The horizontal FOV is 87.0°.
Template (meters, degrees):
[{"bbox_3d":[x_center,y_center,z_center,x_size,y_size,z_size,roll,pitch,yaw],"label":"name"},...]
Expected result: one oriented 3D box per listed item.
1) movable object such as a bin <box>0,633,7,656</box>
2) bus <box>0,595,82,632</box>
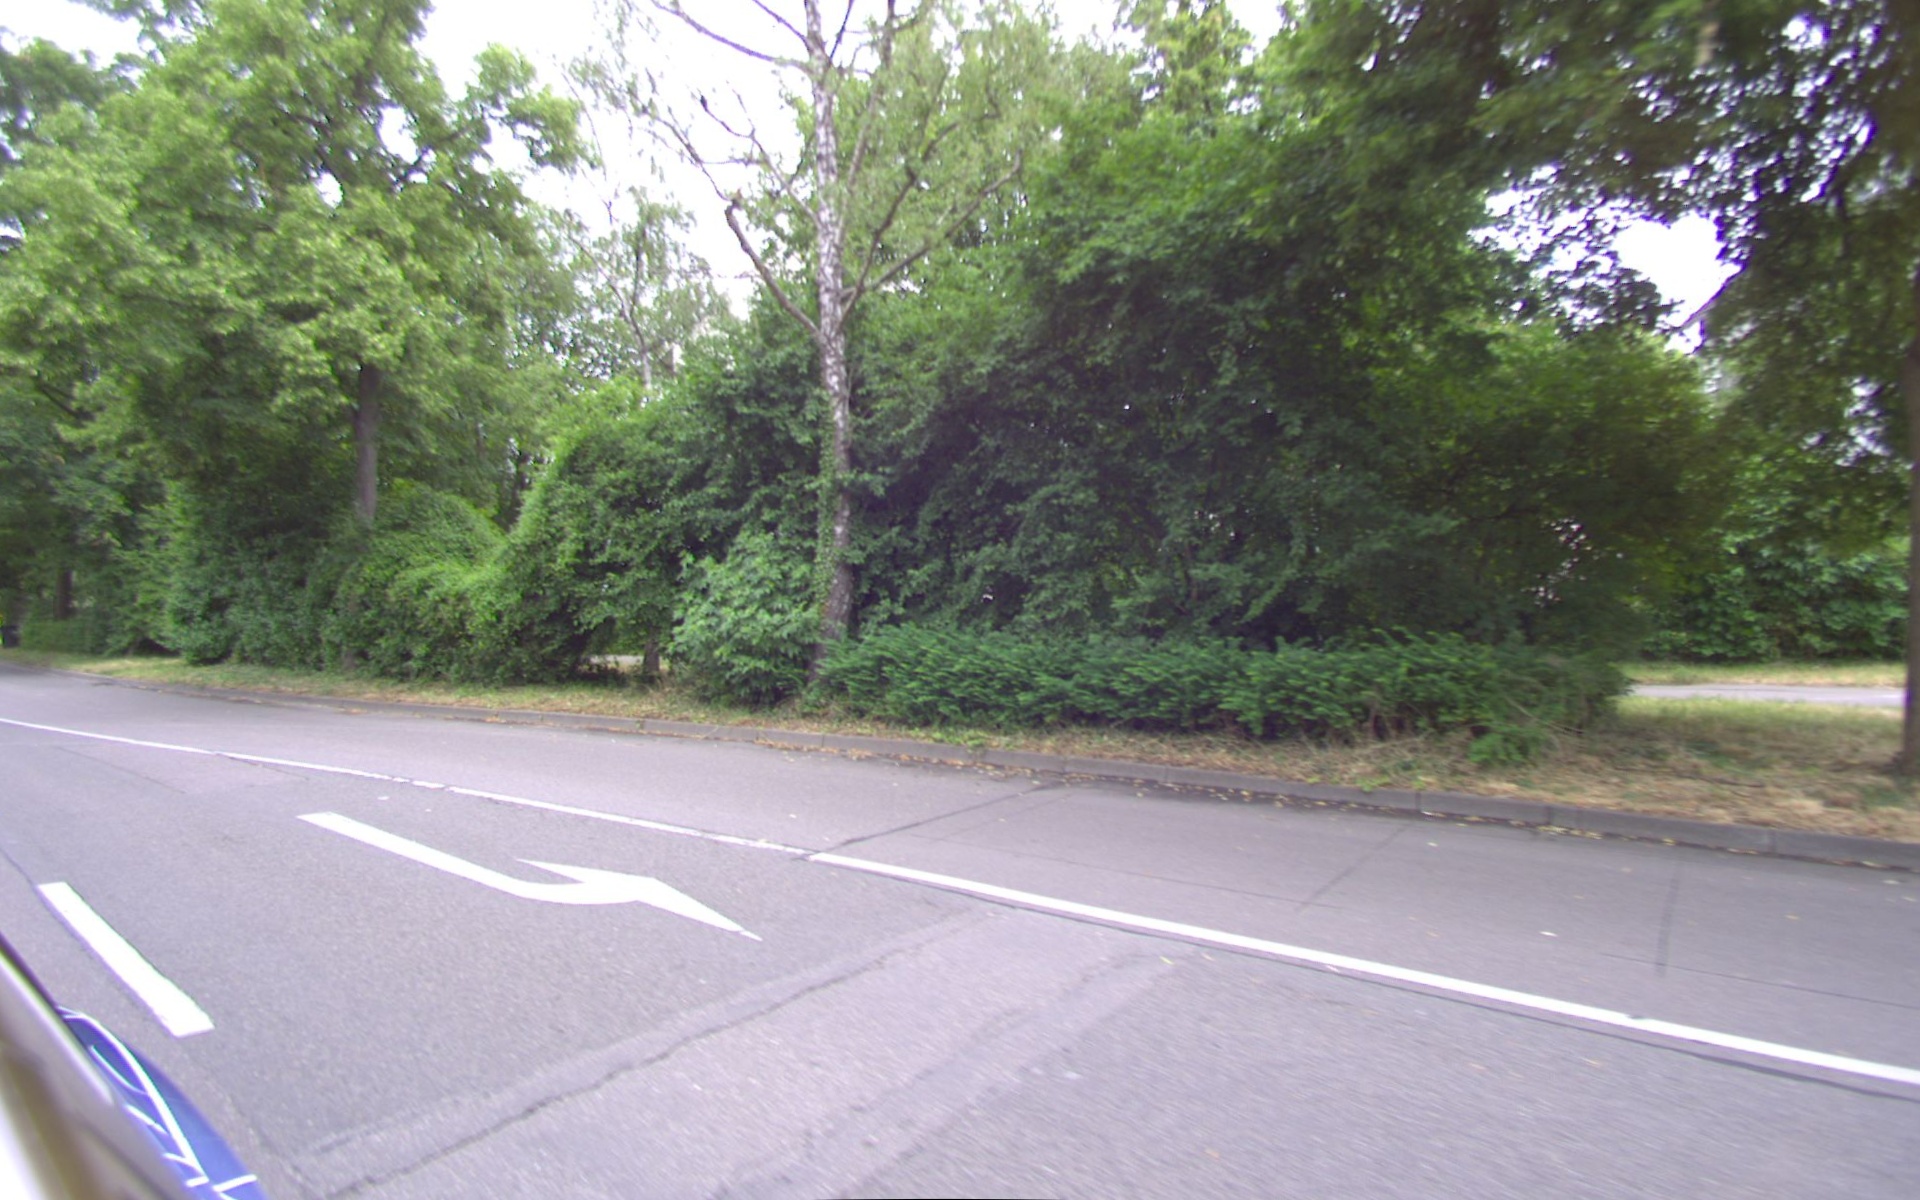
[{"bbox_3d":[-37.214,1.736,38.950,0.590,0.851,0.580,-4,1,-29],"label":"movable object such as a bin"},{"bbox_3d":[-81.867,1.161,88.617,3.007,3.031,8.440,-4,1,-5],"label":"bus"}]
